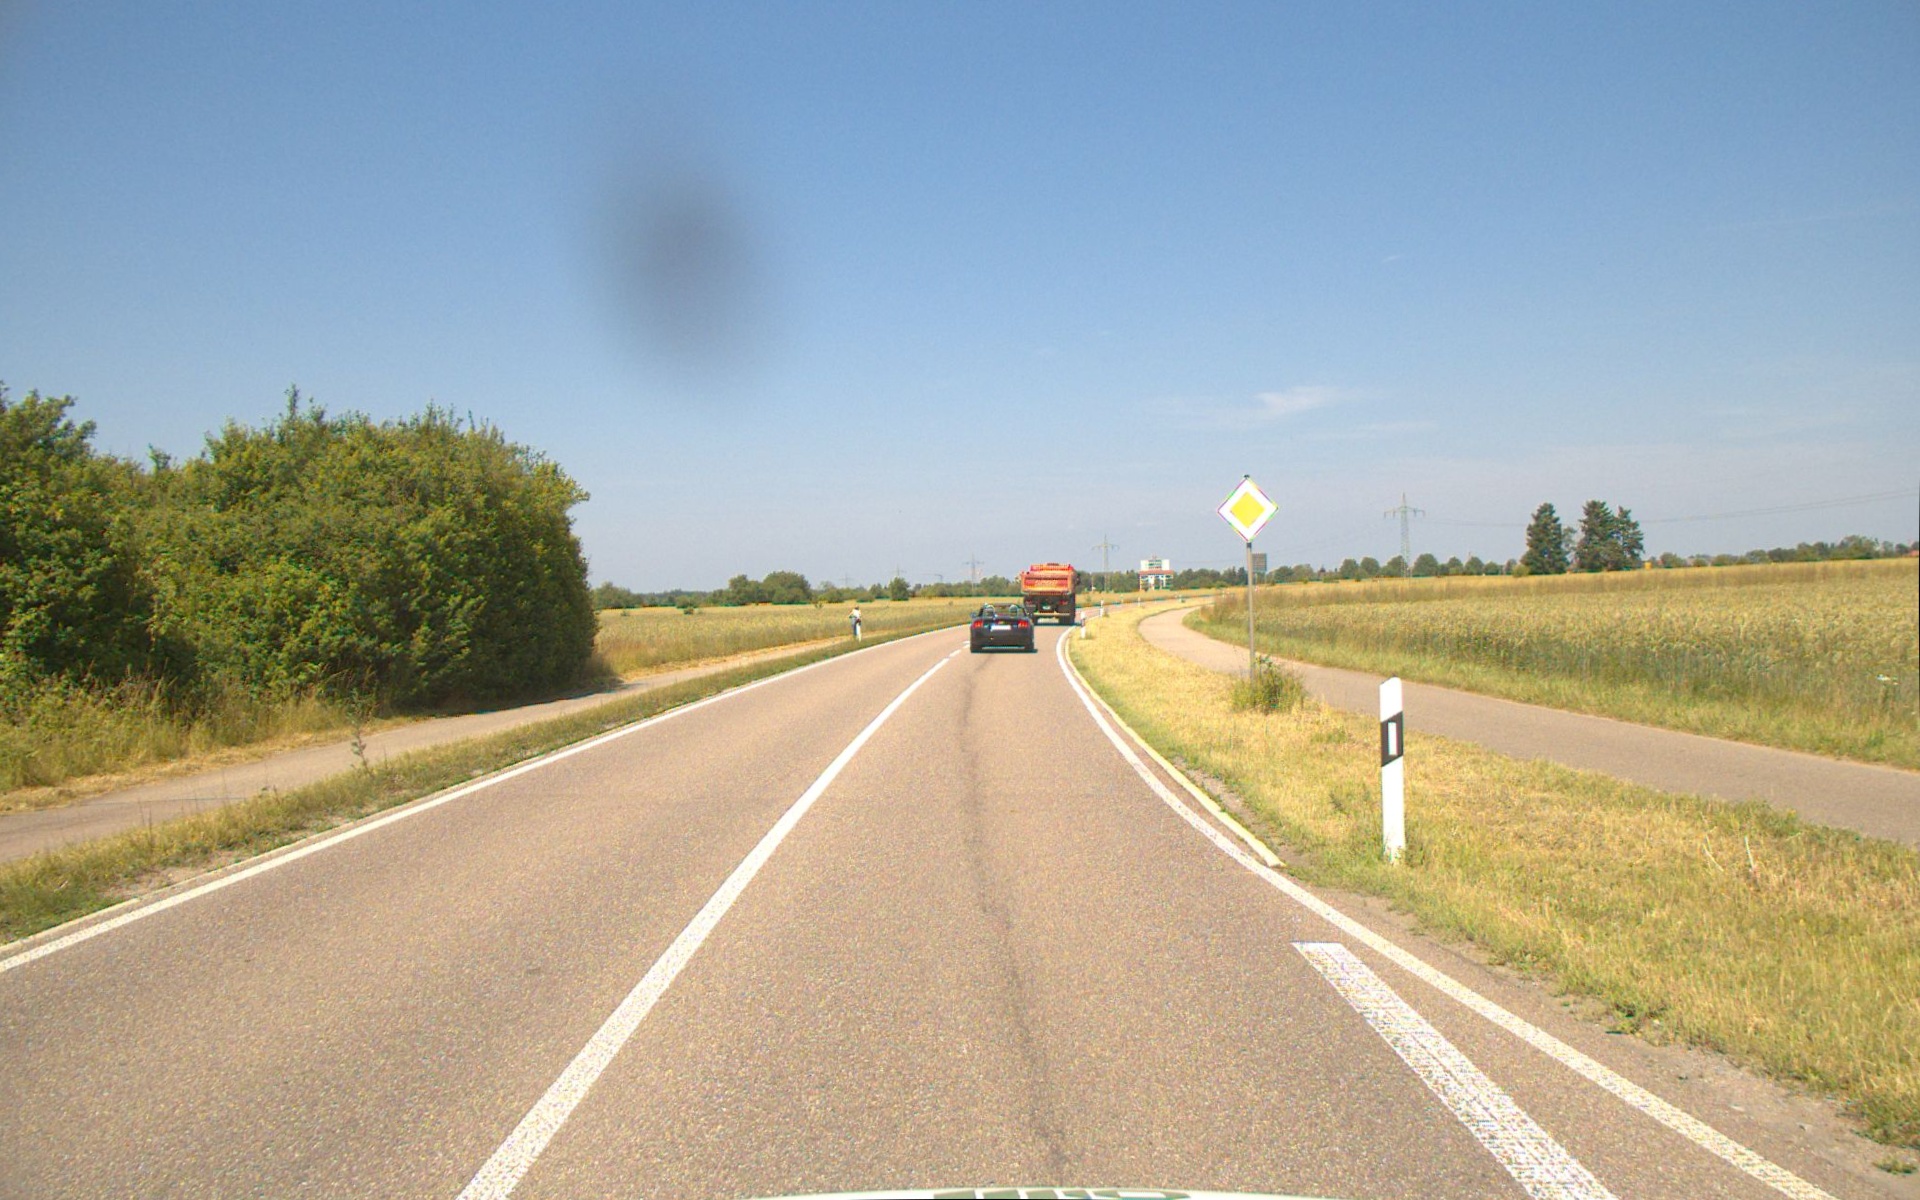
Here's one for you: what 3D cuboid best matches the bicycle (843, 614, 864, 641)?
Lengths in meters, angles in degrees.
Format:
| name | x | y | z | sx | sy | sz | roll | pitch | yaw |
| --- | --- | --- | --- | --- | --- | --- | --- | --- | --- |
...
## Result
| name | x | y | z | sx | sy | sz | roll | pitch | yaw |
| --- | --- | --- | --- | --- | --- | --- | --- | --- | --- |
| bicycle | -5.150 | 1.317 | 79.920 | 0.679 | 1.197 | 1.965 | -2 | 1 | 4 |

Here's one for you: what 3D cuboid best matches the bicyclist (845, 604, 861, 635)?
| name | x | y | z | sx | sy | sz | roll | pitch | yaw |
| --- | --- | --- | --- | --- | --- | --- | --- | --- | --- |
| bicyclist | -5.160 | 0.952 | 79.872 | 0.650 | 1.463 | 0.823 | -1 | 0 | 5 |

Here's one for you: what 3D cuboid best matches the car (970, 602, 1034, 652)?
| name | x | y | z | sx | sy | sz | roll | pitch | yaw |
| --- | --- | --- | --- | --- | --- | --- | --- | --- | --- |
| car | 1.125 | 0.718 | 46.015 | 1.708 | 1.302 | 4.000 | 0 | 0 | 0 |

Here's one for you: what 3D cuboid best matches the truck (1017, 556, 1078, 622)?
| name | x | y | z | sx | sy | sz | roll | pitch | yaw |
| --- | --- | --- | --- | --- | --- | --- | --- | --- | --- |
| truck | 4.530 | -0.525 | 84.451 | 2.876 | 3.143 | 7.200 | -1 | 0 | 4 |
